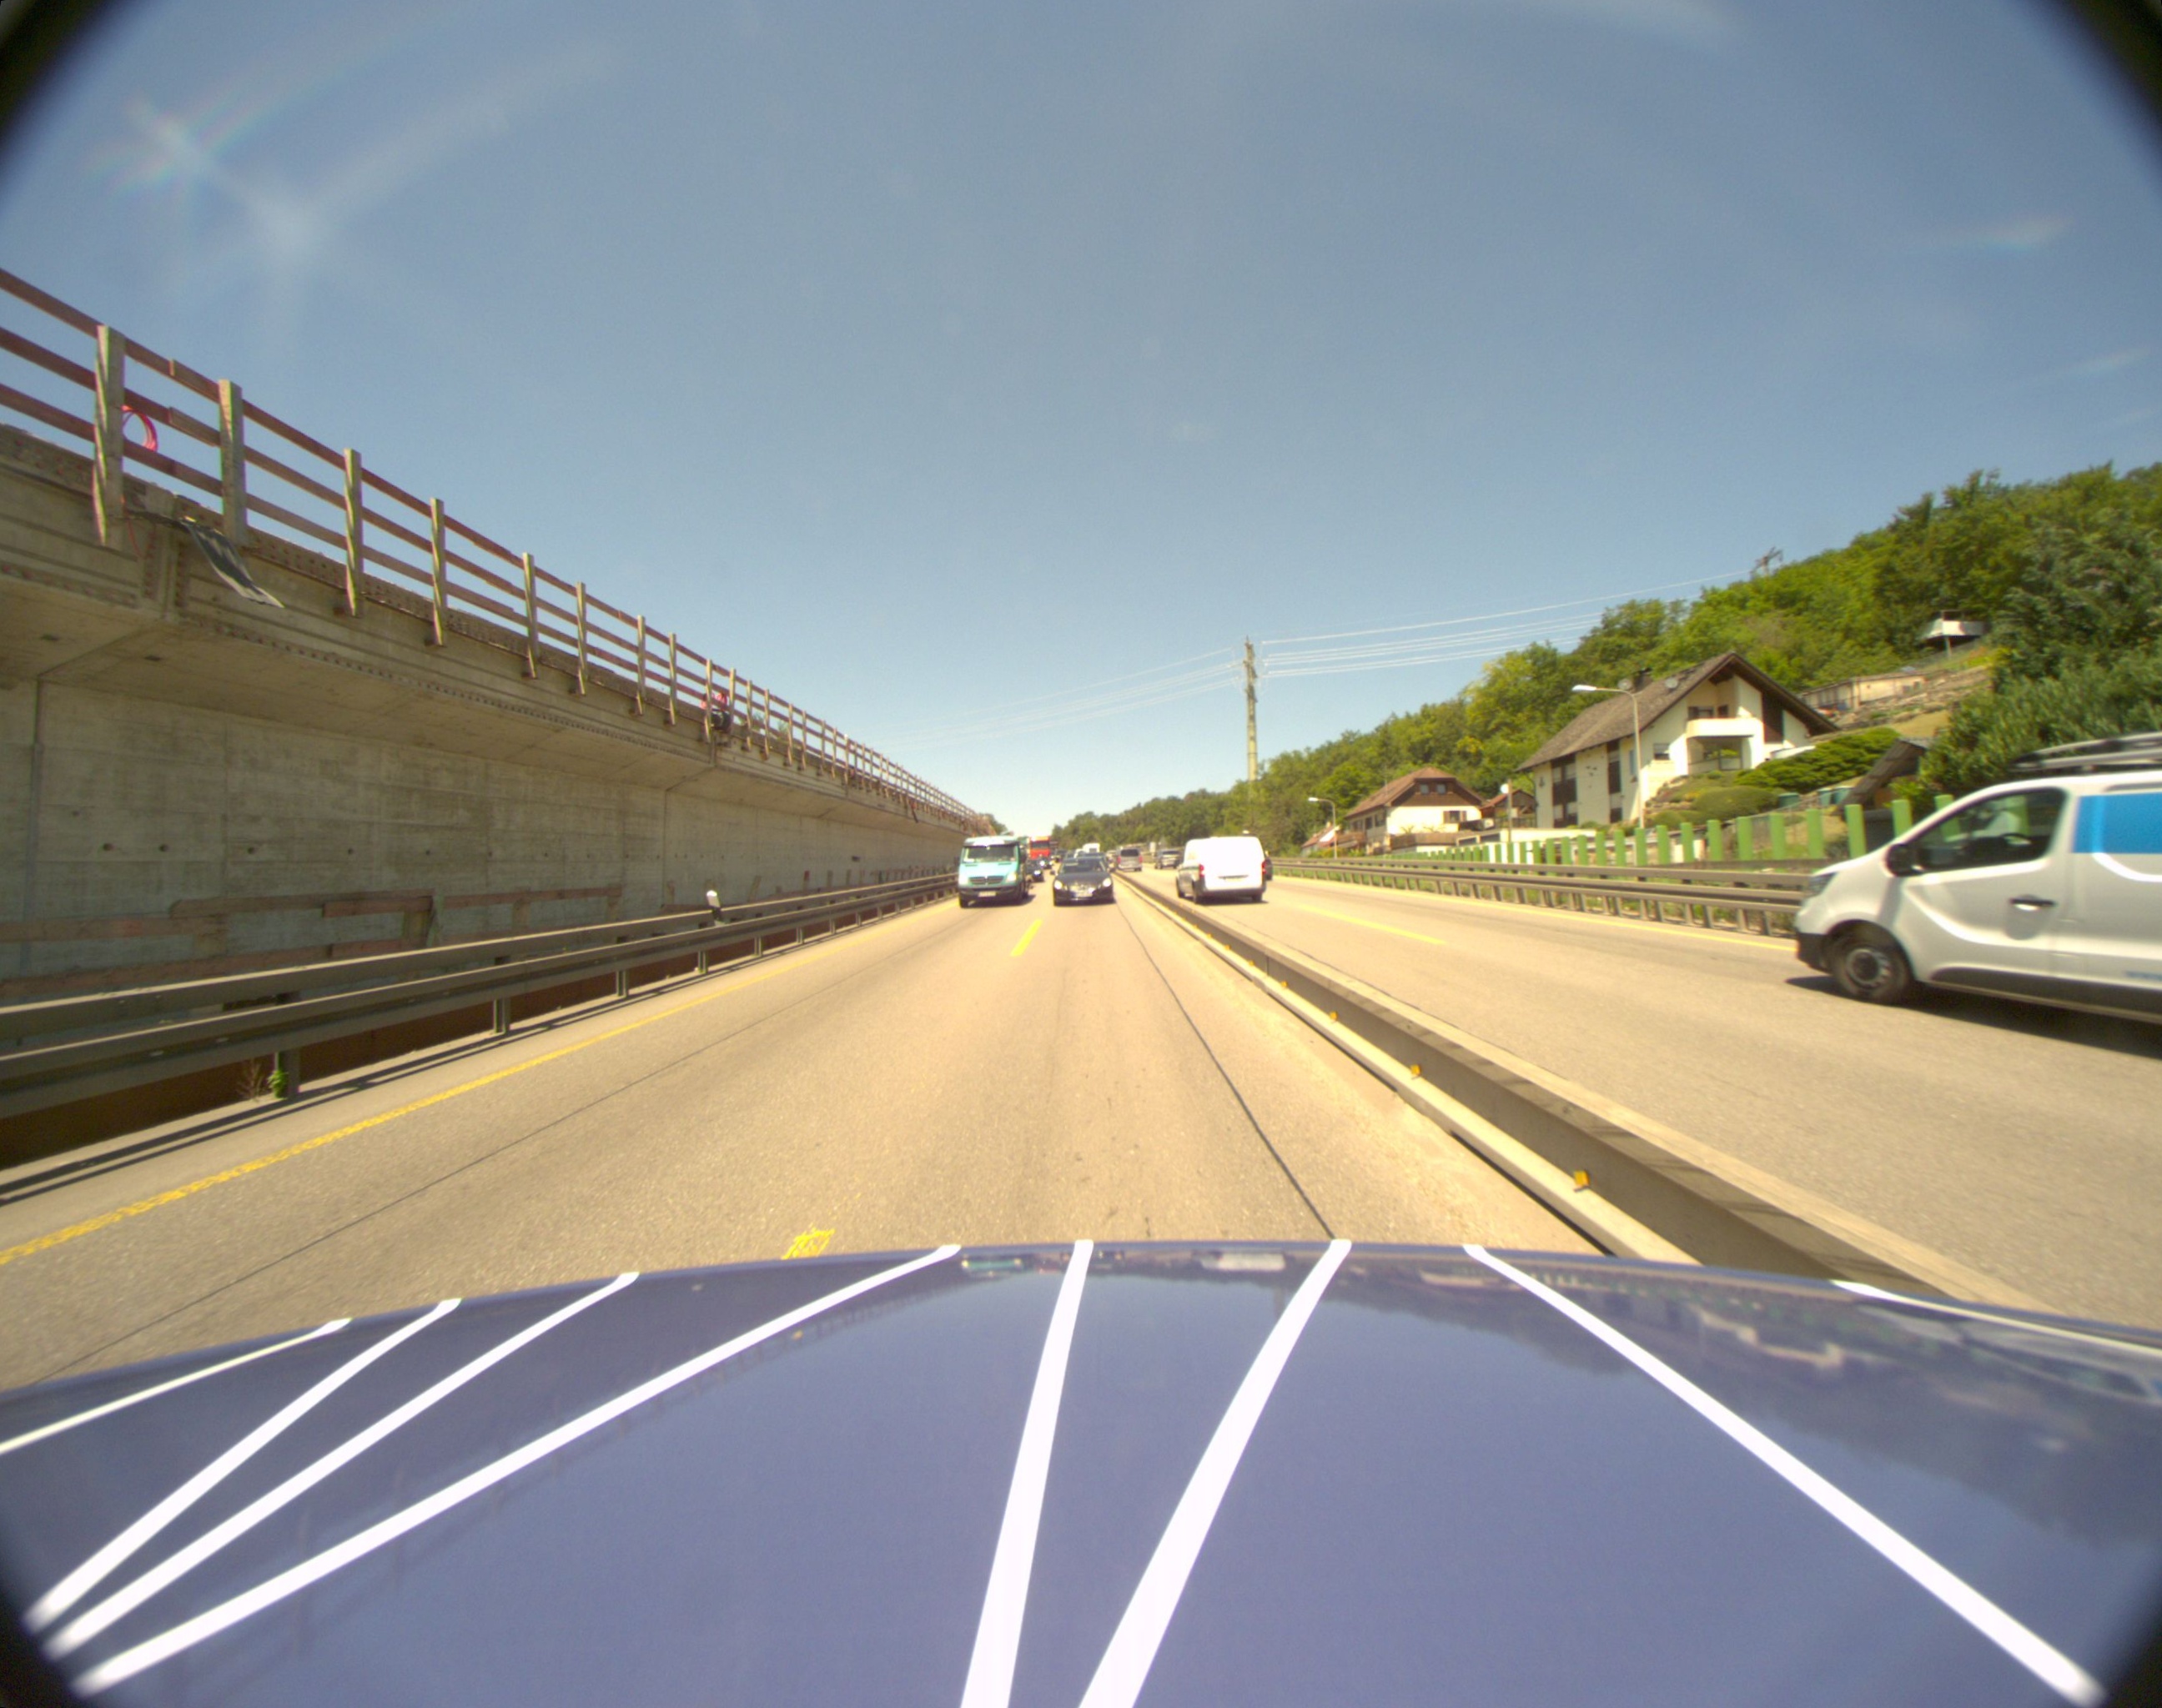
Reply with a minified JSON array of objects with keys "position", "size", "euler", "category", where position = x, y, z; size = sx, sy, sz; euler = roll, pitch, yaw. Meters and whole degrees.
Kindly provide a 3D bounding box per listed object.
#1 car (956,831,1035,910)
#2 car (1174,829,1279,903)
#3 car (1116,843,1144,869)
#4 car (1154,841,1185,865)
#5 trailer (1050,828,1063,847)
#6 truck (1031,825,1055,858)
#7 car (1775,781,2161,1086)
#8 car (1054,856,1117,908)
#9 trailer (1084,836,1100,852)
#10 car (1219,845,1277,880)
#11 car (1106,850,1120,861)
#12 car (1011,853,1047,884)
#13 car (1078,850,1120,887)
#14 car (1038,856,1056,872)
[{"position":[-2.852,0.483,26.950],"size":[1.968,2.367,7.209],"euler":[-2,0,-1],"category":"car"},{"position":[4.183,0.283,22.796],"size":[2.162,1.895,5.325],"euler":[-2,1,1],"category":"car"},{"position":[3.800,0.115,59.571],"size":[1.998,2.002,4.968],"euler":[-1,1,1],"category":"car"},{"position":[7.187,-0.084,62.077],"size":[1.998,1.817,4.508],"euler":[-2,1,0],"category":"car"},{"position":[-6.718,-4.411,205.100],"size":[3.130,4.687,12.074],"euler":[-3,1,-2],"category":"trailer"},{"position":[-4.930,-1.595,100.049],"size":[2.651,3.978,11.193],"euler":[-3,1,-1],"category":"truck"},{"position":[7.681,0.478,4.779],"size":[1.829,1.914,5.243],"euler":[-2,0,0],"category":"car"},{"position":[0.062,0.813,24.050],"size":[1.793,1.440,4.296],"euler":[-1,0,-2],"category":"car"},{"position":[1.945,-1.781,135.922],"size":[2.606,2.573,6.240],"euler":[-2,1,-1],"category":"trailer"},{"position":[7.518,0.338,34.592],"size":[1.753,1.434,4.052],"euler":[-2,1,1],"category":"car"},{"position":[4.500,0.239,107.844],"size":[1.706,1.471,3.973],"euler":[-2,0,-1],"category":"car"},{"position":[-3.060,0.813,45.579],"size":[1.860,1.650,3.999],"euler":[-3,1,-1],"category":"car"},{"position":[0.846,0.673,37.893],"size":[1.859,1.650,3.999],"euler":[-3,1,-1],"category":"car"},{"position":[-3.606,0.997,80.802],"size":[1.674,1.499,3.648],"euler":[-3,1,1],"category":"car"}]
